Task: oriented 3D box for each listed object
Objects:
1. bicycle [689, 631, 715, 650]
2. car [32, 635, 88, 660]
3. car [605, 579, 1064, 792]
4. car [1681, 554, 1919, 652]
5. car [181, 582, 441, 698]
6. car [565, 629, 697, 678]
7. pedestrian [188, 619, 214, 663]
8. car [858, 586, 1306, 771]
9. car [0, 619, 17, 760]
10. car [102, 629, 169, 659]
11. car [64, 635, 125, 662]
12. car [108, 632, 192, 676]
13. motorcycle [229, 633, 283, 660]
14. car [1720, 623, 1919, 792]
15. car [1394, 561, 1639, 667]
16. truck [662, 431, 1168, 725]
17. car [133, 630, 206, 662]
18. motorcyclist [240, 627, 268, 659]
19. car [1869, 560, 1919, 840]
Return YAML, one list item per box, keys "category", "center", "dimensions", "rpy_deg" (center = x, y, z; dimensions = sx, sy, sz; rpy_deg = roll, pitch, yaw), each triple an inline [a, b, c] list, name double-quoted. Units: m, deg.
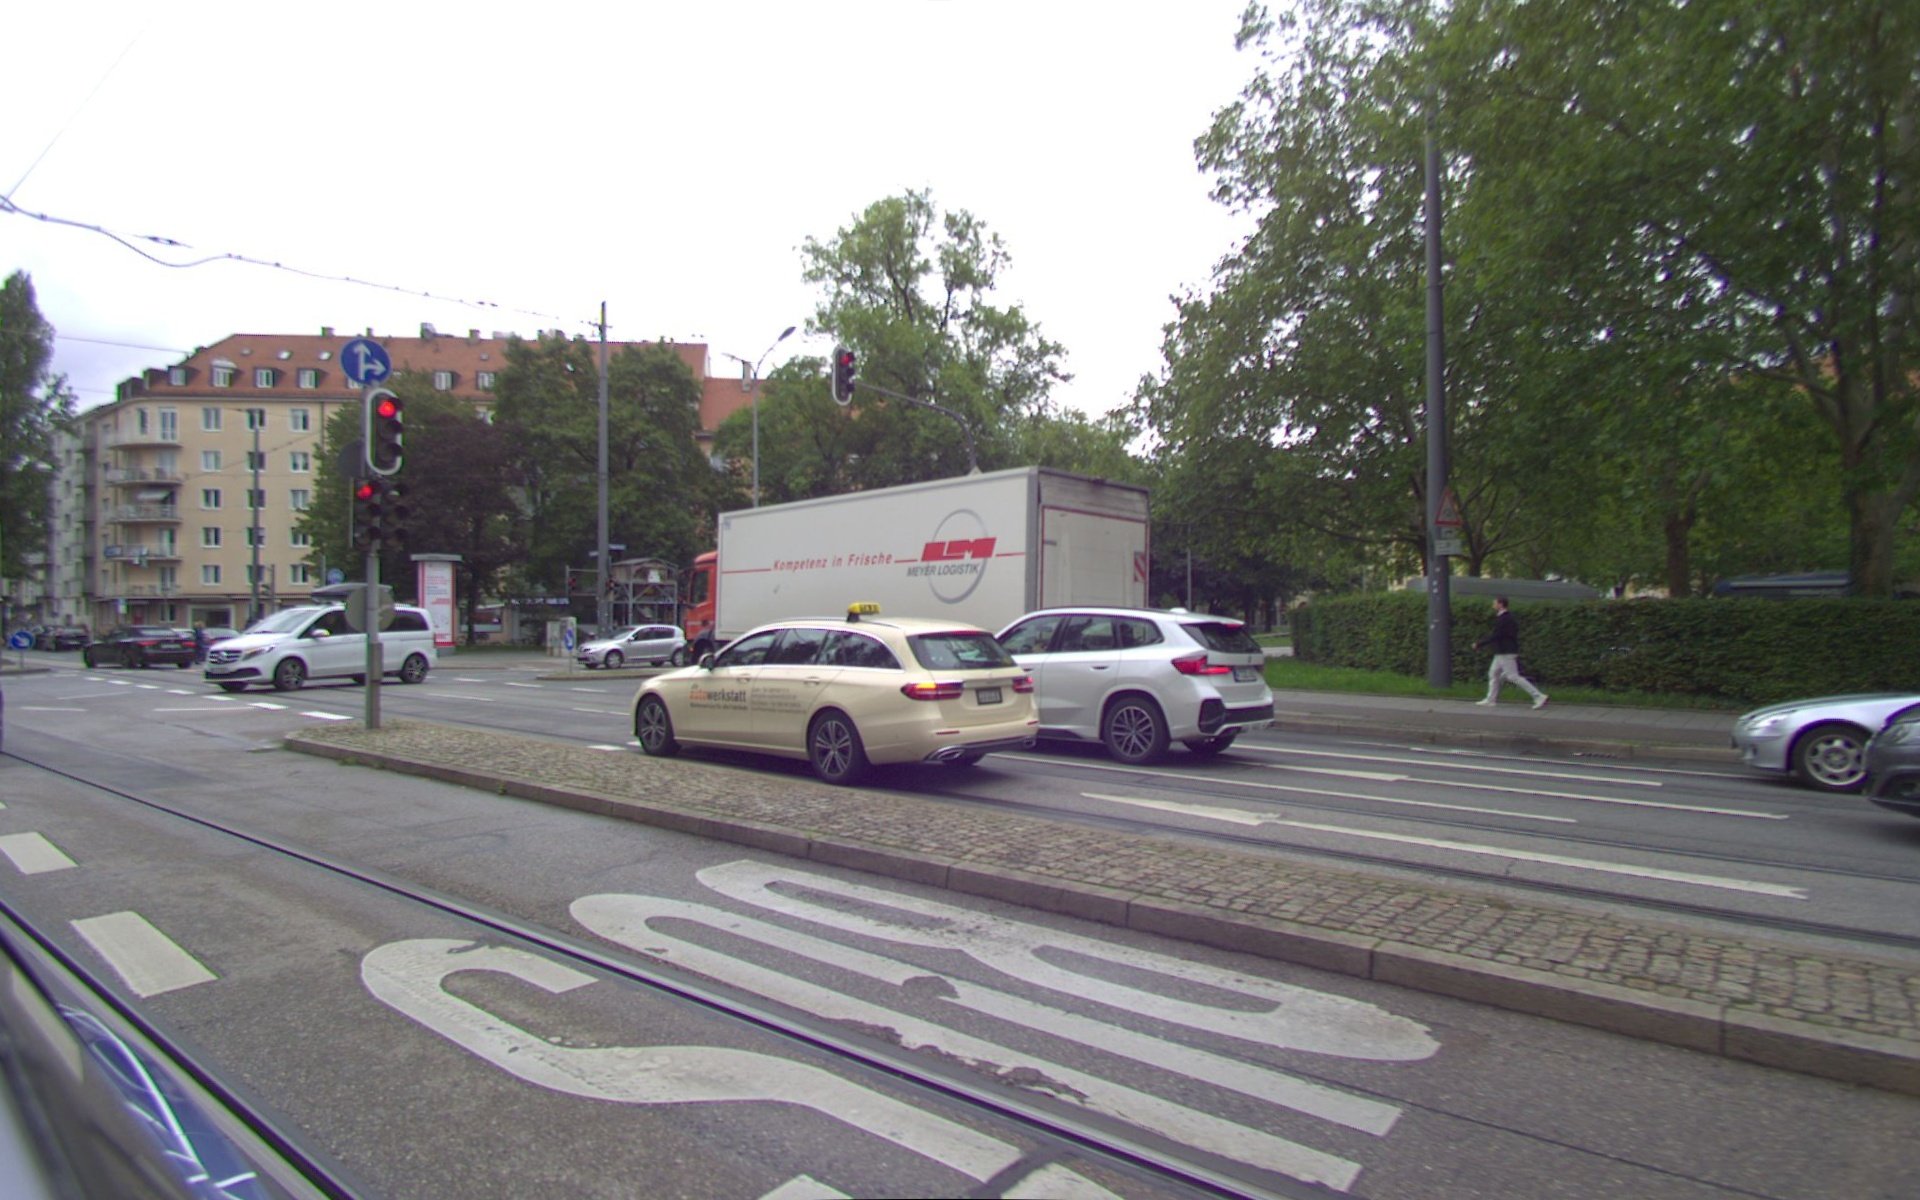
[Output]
- category: "bicycle"
  center: [-13.090, 2.064, 51.395]
  dimensions: [1.406, 0.900, 0.310]
  rpy_deg: [-3, -2, 28]
- category: "car"
  center: [-53.665, 2.809, 60.348]
  dimensions: [4.468, 1.418, 1.709]
  rpy_deg: [-2, -2, 38]
- category: "car"
  center: [-1.476, 0.724, 10.178]
  dimensions: [4.888, 1.651, 1.803]
  rpy_deg: [-2, -2, 41]
- category: "car"
  center: [24.937, 0.152, 29.660]
  dimensions: [1.971, 2.554, 5.867]
  rpy_deg: [0, -3, -45]
- category: "car"
  center: [-14.707, 0.870, 23.327]
  dimensions: [1.900, 2.369, 4.910]
  rpy_deg: [-1, -1, 21]
- category: "car"
  center: [-11.464, 1.853, 35.495]
  dimensions: [1.772, 1.536, 4.158]
  rpy_deg: [-3, -2, 35]
- category: "pedestrian"
  center: [-29.374, 1.577, 39.166]
  dimensions: [0.543, 1.675, 0.703]
  rpy_deg: [-2, -2, -8]
- category: "car"
  center: [1.210, 0.782, 11.625]
  dimensions: [4.887, 1.696, 1.895]
  rpy_deg: [-2, -2, 40]
- category: "car"
  center: [-10.531, 0.932, 9.571]
  dimensions: [1.747, 1.536, 4.219]
  rpy_deg: [0, -2, -34]
- category: "car"
  center: [-41.872, 2.221, 51.377]
  dimensions: [4.368, 1.418, 1.709]
  rpy_deg: [-2, -2, 38]
- category: "car"
  center: [-47.792, 2.665, 55.861]
  dimensions: [4.368, 1.418, 1.709]
  rpy_deg: [-2, -2, 38]
- category: "car"
  center: [-27.668, 1.800, 34.522]
  dimensions: [4.800, 1.400, 1.704]
  rpy_deg: [-2, -2, 45]
- category: "motorcycle"
  center: [-34.051, 2.223, 48.958]
  dimensions: [1.997, 1.178, 0.632]
  rpy_deg: [-1, 6, -9]
- category: "car"
  center: [9.195, 0.944, 8.692]
  dimensions: [4.102, 1.422, 1.712]
  rpy_deg: [-2, -5, 43]
- category: "car"
  center: [12.811, 0.361, 23.443]
  dimensions: [4.557, 2.029, 2.003]
  rpy_deg: [4, -3, -6]
- category: "truck"
  center: [-1.698, -0.144, 19.055]
  dimensions: [2.706, 4.011, 11.730]
  rpy_deg: [2, -3, -42]
- category: "car"
  center: [-37.496, 2.169, 47.990]
  dimensions: [4.368, 1.418, 1.709]
  rpy_deg: [-2, -2, 38]
- category: "motorcyclist"
  center: [-34.136, 2.069, 48.959]
  dimensions: [0.867, 1.453, 0.622]
  rpy_deg: [-1, 4, -9]
- category: "car"
  center: [8.045, 0.564, 5.263]
  dimensions: [4.891, 1.696, 1.802]
  rpy_deg: [-2, -2, 43]
